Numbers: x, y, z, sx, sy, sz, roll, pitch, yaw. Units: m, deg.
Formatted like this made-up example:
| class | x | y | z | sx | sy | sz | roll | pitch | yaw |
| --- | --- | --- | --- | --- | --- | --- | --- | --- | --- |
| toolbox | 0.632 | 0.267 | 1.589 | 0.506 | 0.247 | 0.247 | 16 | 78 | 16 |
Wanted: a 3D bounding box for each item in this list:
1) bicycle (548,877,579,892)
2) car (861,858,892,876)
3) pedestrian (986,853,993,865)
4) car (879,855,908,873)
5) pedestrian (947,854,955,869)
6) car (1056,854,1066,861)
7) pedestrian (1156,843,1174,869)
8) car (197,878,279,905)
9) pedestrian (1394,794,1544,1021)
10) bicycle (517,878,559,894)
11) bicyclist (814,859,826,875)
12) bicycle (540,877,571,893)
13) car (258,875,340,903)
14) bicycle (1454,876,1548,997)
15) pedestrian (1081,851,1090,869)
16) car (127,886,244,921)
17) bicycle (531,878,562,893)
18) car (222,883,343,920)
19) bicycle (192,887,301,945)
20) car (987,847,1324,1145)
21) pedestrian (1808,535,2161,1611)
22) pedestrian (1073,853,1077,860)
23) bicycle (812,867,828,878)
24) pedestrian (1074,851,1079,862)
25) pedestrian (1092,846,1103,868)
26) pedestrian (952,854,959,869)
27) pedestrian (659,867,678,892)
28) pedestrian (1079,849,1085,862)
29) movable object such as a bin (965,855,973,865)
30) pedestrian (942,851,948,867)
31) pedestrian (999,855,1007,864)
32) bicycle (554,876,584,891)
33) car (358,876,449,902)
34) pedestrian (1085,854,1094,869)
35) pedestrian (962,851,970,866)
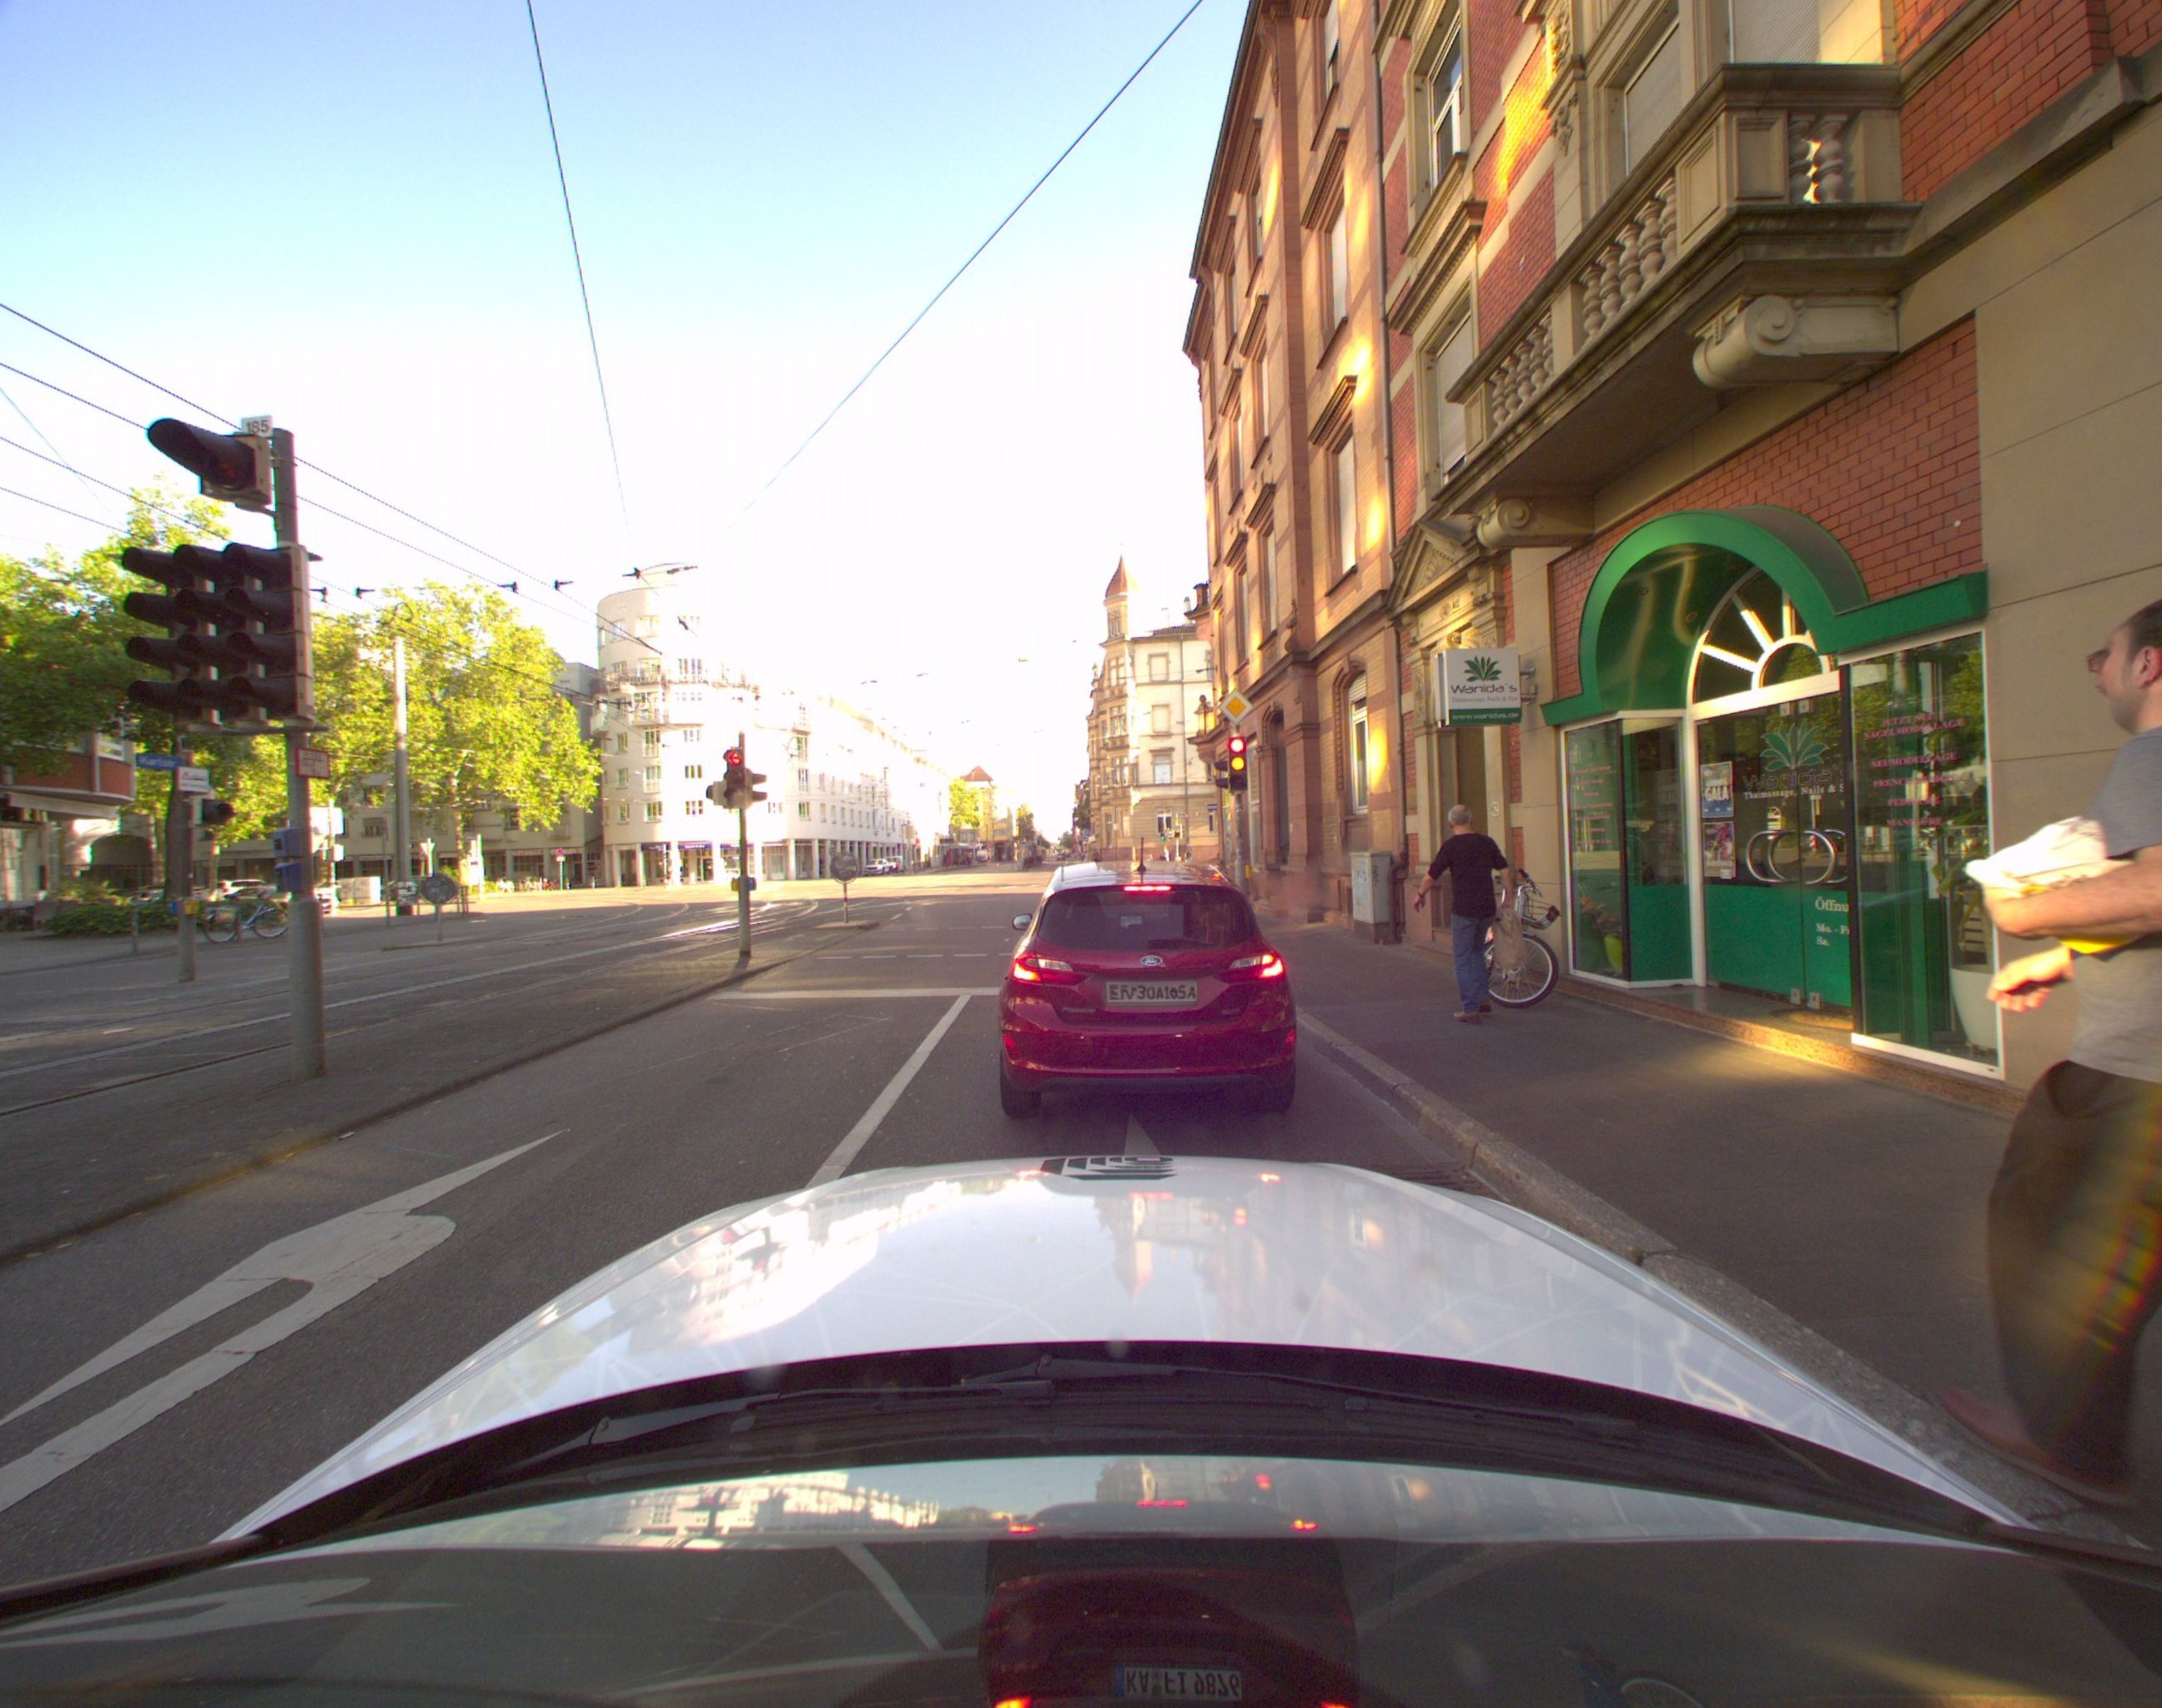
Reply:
| class | x | y | z | sx | sy | sz | roll | pitch | yaw |
| --- | --- | --- | --- | --- | --- | --- | --- | --- | --- |
| bicycle | -41.925 | 2.450 | 66.003 | 1.935 | 1.107 | 0.819 | -2 | 0 | 1 |
| car | -20.305 | 1.234 | 81.032 | 1.988 | 1.620 | 4.507 | -2 | 0 | -2 |
| pedestrian | -14.838 | 0.823 | 131.829 | 0.880 | 1.904 | 0.929 | -2 | -1 | -17 |
| car | -20.397 | 1.037 | 88.992 | 1.988 | 1.837 | 5.343 | -2 | 0 | -2 |
| pedestrian | -15.539 | 0.896 | 97.107 | 0.699 | 1.691 | 0.666 | -2 | -1 | -25 |
| car | -4.287 | 0.665 | 171.882 | 1.988 | 1.449 | 3.998 | -1 | 0 | -1 |
| pedestrian | 5.977 | 0.171 | 58.177 | 1.021 | 1.807 | 1.081 | -2 | 0 | -5 |
| car | -60.517 | 2.640 | 58.560 | 1.790 | 1.715 | 3.996 | -2 | 0 | -3 |
| pedestrian | 3.164 | 0.413 | 6.713 | 0.773 | 1.723 | 0.754 | -3 | 0 | -1 |
| bicycle | -41.444 | 2.455 | 62.150 | 2.440 | 1.107 | 0.933 | -2 | 0 | -15 |
| bicyclist | -24.386 | 1.178 | 76.065 | 0.838 | 1.467 | 0.896 | -2 | 0 | -1 |
| bicycle | -41.799 | 2.457 | 64.776 | 1.933 | 1.107 | 0.820 | -2 | 0 | 3 |
| car | -53.278 | 2.345 | 55.610 | 1.790 | 1.715 | 3.996 | -2 | 0 | -3 |
| bicycle | 3.930 | 0.735 | 7.690 | 0.342 | 0.996 | 1.243 | -3 | 0 | 8 |
| pedestrian | 0.432 | 0.568 | 76.750 | 0.716 | 1.721 | 0.795 | -3 | -1 | -3 |
| car | -43.073 | 2.394 | 39.189 | 4.408 | 1.421 | 1.899 | -3 | 0 | 15 |
| bicycle | -41.864 | 2.466 | 63.787 | 1.933 | 1.107 | 0.820 | -2 | 0 | 3 |
| car | -36.357 | 2.155 | 37.104 | 4.408 | 1.421 | 1.899 | -3 | 0 | 15 |
| bicycle | -19.779 | 1.442 | 19.358 | 0.578 | 1.235 | 1.859 | -1 | 0 | 4 |
| car | 0.425 | 0.712 | 5.895 | 1.686 | 1.495 | 3.581 | 0 | 0 | 1 |
| pedestrian | 2.282 | 0.383 | 1.666 | 0.819 | 1.894 | 0.754 | -3 | 0 | -1 |
| pedestrian | -1.232 | 0.520 | 171.619 | 0.748 | 1.661 | 0.650 | 0 | -1 | 1 |
| bicycle | -24.368 | 1.681 | 76.052 | 0.838 | 0.927 | 2.264 | -2 | 0 | -1 |
| pedestrian | -0.735 | 0.470 | 141.589 | 0.712 | 1.774 | 0.772 | -5 | 1 | -5 |
| pedestrian | 1.405 | 0.247 | 70.393 | 0.799 | 1.824 | 0.797 | -4 | 1 | -2 |
| pedestrian | -15.591 | 0.910 | 101.211 | 0.694 | 1.904 | 0.671 | -2 | -1 | -4 |
| pedestrian | -29.413 | 1.830 | 58.050 | 0.863 | 1.681 | 0.698 | -3 | 2 | 7 |
| pedestrian | 0.138 | 0.192 | 108.104 | 0.712 | 1.774 | 0.772 | -5 | 1 | -5 |
| movable object such as a bin | -15.105 | 0.759 | 109.804 | 0.935 | 1.286 | 0.933 | -2 | -1 | -4 |
| pedestrian | -15.211 | 0.542 | 91.005 | 0.597 | 1.691 | 0.613 | -2 | -1 | -1 |
| pedestrian | -16.320 | 1.151 | 171.325 | 1.347 | 1.904 | 1.465 | -2 | -1 | -17 |
| bicycle | -42.010 | 2.445 | 66.868 | 1.935 | 1.107 | 0.819 | -2 | 0 | 1 |
| car | -44.423 | 2.265 | 53.453 | 4.423 | 1.421 | 1.892 | -3 | 0 | 2 |
| pedestrian | 0.780 | 0.731 | 75.839 | 0.716 | 1.331 | 0.795 | -3 | -1 | -3 |
| pedestrian | -14.605 | 0.590 | 103.359 | 0.930 | 1.904 | 0.880 | -2 | -1 | -4 |
